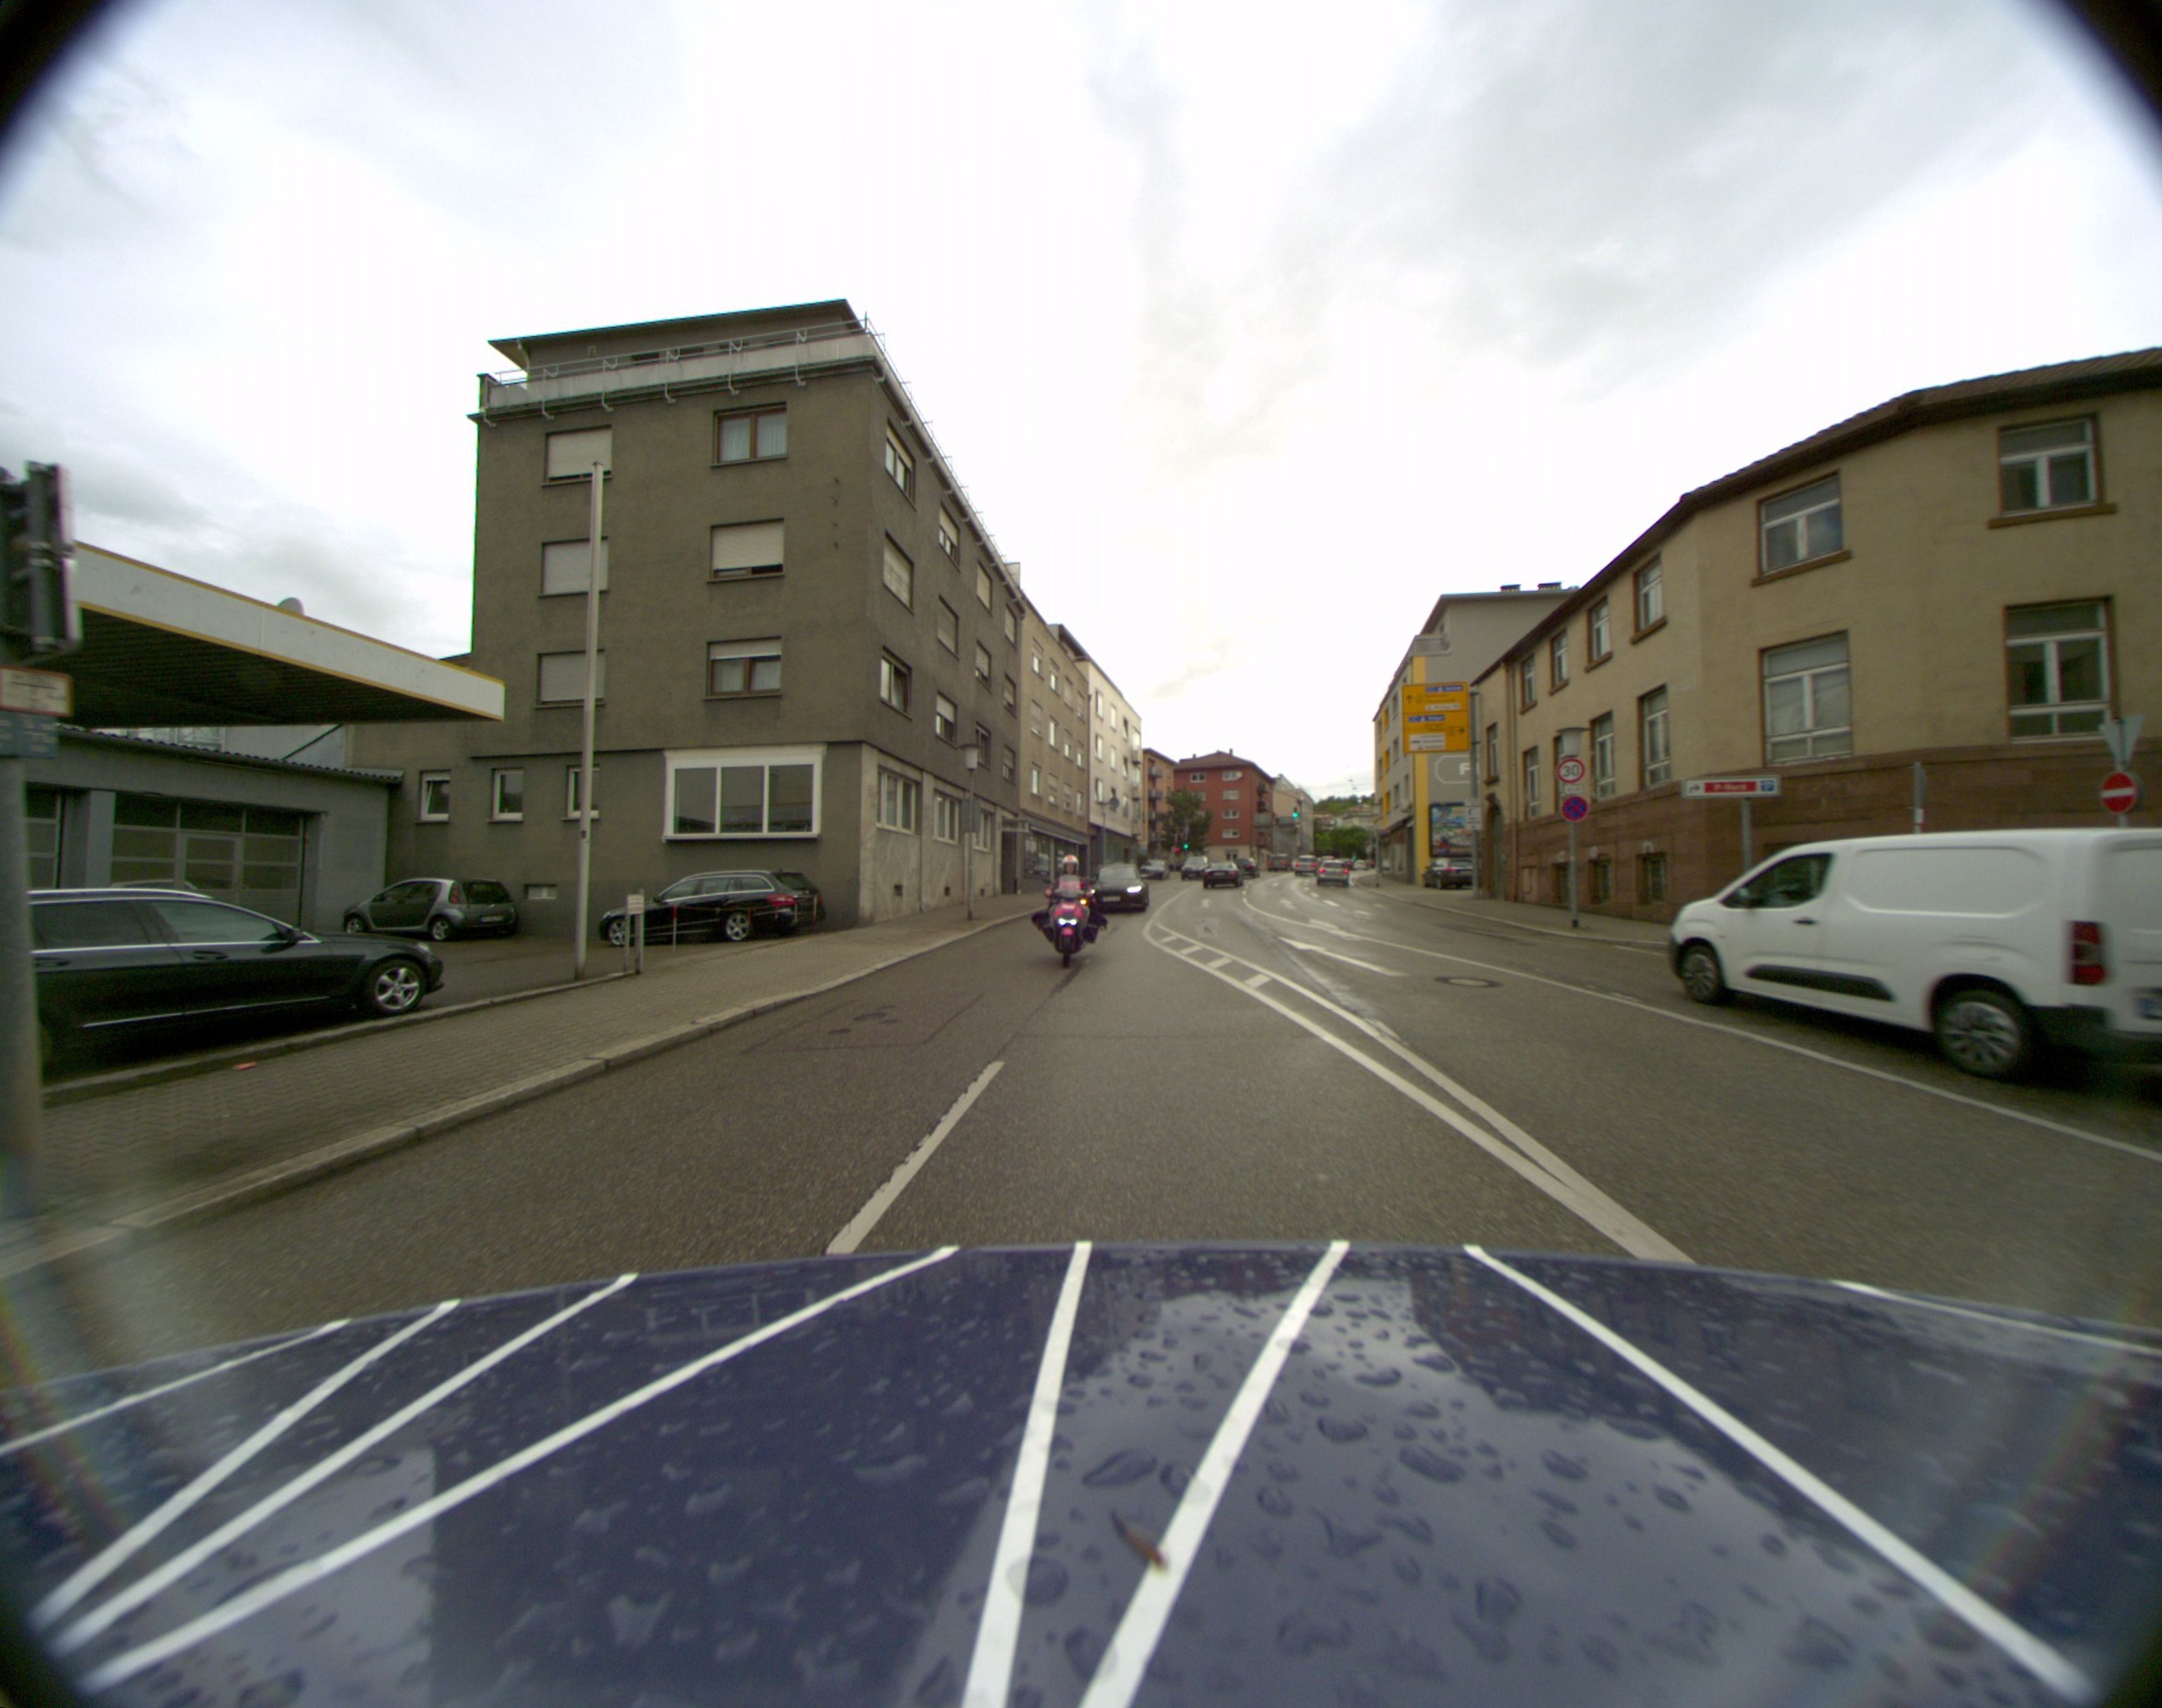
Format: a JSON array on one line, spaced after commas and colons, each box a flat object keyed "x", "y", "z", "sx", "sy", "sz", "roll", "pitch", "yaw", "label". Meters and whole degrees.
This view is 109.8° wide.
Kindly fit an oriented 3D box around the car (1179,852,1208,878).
[{"x": 8.415, "y": 0.790, "z": 56.491, "sx": 1.846, "sy": 1.892, "sz": 3.769, "roll": 0, "pitch": 0, "yaw": 13, "label": "car"}]

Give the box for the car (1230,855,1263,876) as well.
[{"x": 12.049, "y": 0.802, "z": 55.165, "sx": 1.859, "sy": 1.445, "sz": 4.324, "roll": 0, "pitch": 0, "yaw": 18, "label": "car"}]

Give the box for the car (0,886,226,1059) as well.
[{"x": -11.135, "y": 1.124, "z": 6.723, "sx": 1.791, "sy": 1.502, "sz": 4.423, "roll": 3, "pitch": -1, "yaw": 8, "label": "car"}]

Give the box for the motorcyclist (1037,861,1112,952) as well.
[{"x": -0.084, "y": 0.835, "z": 12.274, "sx": 1.010, "sy": 1.373, "sz": 0.835, "roll": -3, "pitch": 0, "yaw": 9, "label": "motorcyclist"}]

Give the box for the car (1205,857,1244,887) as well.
[{"x": 7.595, "y": 0.913, "z": 40.077, "sx": 1.860, "sy": 1.445, "sz": 4.322, "roll": -2, "pitch": 0, "yaw": 12, "label": "car"}]

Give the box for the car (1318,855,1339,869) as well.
[{"x": 26.506, "y": 0.789, "z": 81.541, "sx": 1.860, "sy": 1.445, "sz": 4.323, "roll": 0, "pitch": 0, "yaw": 14, "label": "car"}]

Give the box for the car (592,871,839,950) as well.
[{"x": -7.957, "y": 1.220, "z": 16.722, "sx": 4.529, "sy": 1.495, "sz": 2.002, "roll": -2, "pitch": 0, "yaw": 11, "label": "car"}]

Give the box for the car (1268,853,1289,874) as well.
[{"x": 18.657, "y": 0.840, "z": 71.710, "sx": 1.846, "sy": 1.892, "sz": 3.769, "roll": 0, "pitch": 0, "yaw": 15, "label": "car"}]

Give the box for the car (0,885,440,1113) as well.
[{"x": -8.496, "y": 1.107, "z": 6.559, "sx": 1.792, "sy": 1.503, "sz": 4.440, "roll": 0, "pitch": 0, "yaw": 8, "label": "car"}]

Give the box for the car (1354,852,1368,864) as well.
[{"x": 42.557, "y": 0.586, "z": 115.572, "sx": 1.846, "sy": 1.892, "sz": 3.770, "roll": 0, "pitch": 0, "yaw": 19, "label": "car"}]

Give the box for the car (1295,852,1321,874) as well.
[{"x": 18.639, "y": 0.698, "z": 62.498, "sx": 1.860, "sy": 1.688, "sz": 4.323, "roll": 0, "pitch": 0, "yaw": 15, "label": "car"}]

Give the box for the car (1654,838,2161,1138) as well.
[{"x": 7.381, "y": 0.808, "z": 6.593, "sx": 1.865, "sy": 1.793, "sz": 4.267, "roll": 1, "pitch": 0, "yaw": 6, "label": "car"}]

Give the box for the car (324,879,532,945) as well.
[{"x": -15.717, "y": 1.354, "z": 18.380, "sx": 3.749, "sy": 1.445, "sz": 1.796, "roll": 1, "pitch": -2, "yaw": 10, "label": "car"}]

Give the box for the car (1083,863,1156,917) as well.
[{"x": 1.306, "y": 1.067, "z": 24.076, "sx": 1.704, "sy": 1.451, "sz": 4.322, "roll": -2, "pitch": 0, "yaw": 10, "label": "car"}]

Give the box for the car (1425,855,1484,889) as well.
[{"x": 17.822, "y": 0.843, "z": 36.430, "sx": 1.860, "sy": 1.445, "sz": 3.968, "roll": -3, "pitch": -1, "yaw": 17, "label": "car"}]

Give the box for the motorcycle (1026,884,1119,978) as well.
[{"x": -0.058, "y": 1.168, "z": 12.309, "sx": 1.010, "sy": 1.218, "sz": 2.696, "roll": -3, "pitch": 0, "yaw": 9, "label": "motorcycle"}]

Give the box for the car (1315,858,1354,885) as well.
[{"x": 14.898, "y": 1.000, "z": 44.845, "sx": 1.860, "sy": 1.445, "sz": 4.323, "roll": 2, "pitch": 0, "yaw": 15, "label": "car"}]
